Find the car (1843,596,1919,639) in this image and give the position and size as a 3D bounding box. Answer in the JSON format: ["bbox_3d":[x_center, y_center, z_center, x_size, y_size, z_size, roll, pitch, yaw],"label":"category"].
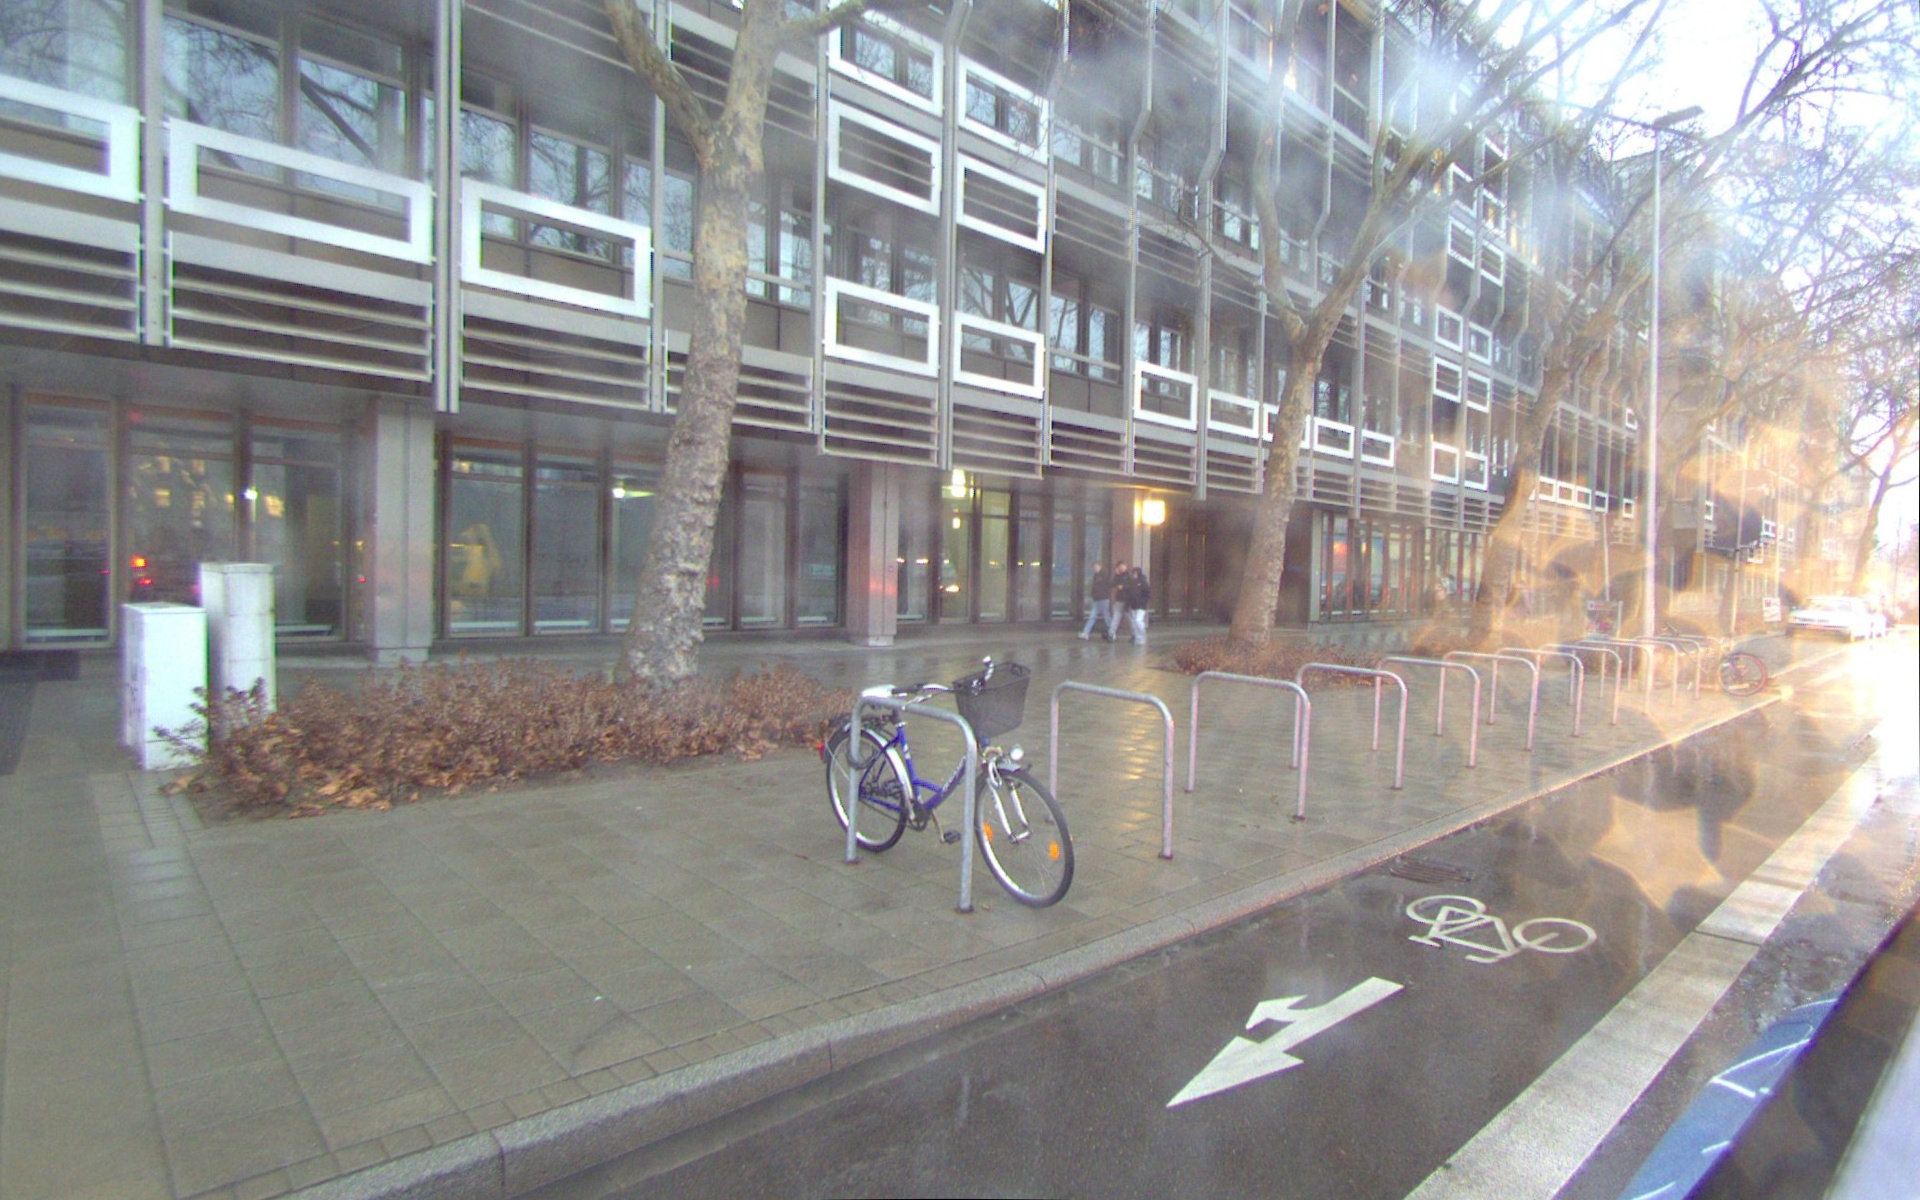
[{"bbox_3d":[35.489,0.638,38.761,3.930,1.504,1.997,-1,1,-41],"label":"car"}]

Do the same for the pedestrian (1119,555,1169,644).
[{"bbox_3d":[3.611,-0.019,19.839,0.858,1.689,0.501,0,2,-41],"label":"pedestrian"}]

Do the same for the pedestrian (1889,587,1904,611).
[{"bbox_3d":[77.793,-0.089,84.036,0.758,2.039,0.837,-1,0,-42],"label":"pedestrian"}]

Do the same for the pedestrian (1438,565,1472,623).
[{"bbox_3d":[14.603,-0.190,29.873,0.767,1.677,0.617,0,1,-41],"label":"pedestrian"}]

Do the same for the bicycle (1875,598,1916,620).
[{"bbox_3d":[47.005,0.451,50.877,1.518,1.049,0.462,0,1,42],"label":"bicycle"}]

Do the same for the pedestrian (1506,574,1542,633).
[{"bbox_3d":[15.309,0.084,27.463,0.604,1.563,0.649,0,1,-40],"label":"pedestrian"}]

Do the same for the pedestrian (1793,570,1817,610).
[{"bbox_3d":[44.167,-0.512,52.892,1.007,2.039,0.790,0,1,-41],"label":"pedestrian"}]

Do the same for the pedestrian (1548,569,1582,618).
[{"bbox_3d":[21.354,-0.237,35.733,0.629,1.675,0.843,1,1,-1],"label":"pedestrian"}]

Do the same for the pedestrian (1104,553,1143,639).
[{"bbox_3d":[3.273,-0.087,20.192,0.701,1.689,0.379,0,1,-41],"label":"pedestrian"}]

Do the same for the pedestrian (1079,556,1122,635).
[{"bbox_3d":[2.877,-0.100,20.686,0.733,1.583,0.484,0,1,-42],"label":"pedestrian"}]

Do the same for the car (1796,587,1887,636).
[{"bbox_3d":[29.427,0.335,33.759,3.859,1.449,1.609,0,4,-39],"label":"car"}]

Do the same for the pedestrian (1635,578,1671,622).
[{"bbox_3d":[24.521,-0.006,35.808,0.824,1.543,0.865,0,2,-44],"label":"pedestrian"}]

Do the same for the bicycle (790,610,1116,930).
[{"bbox_3d":[-0.113,0.697,4.846,0.428,1.162,1.752,0,4,-44],"label":"bicycle"}]

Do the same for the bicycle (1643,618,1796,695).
[{"bbox_3d":[11.653,0.843,15.573,0.607,0.986,1.789,0,3,-45],"label":"bicycle"}]

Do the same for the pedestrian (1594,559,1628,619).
[{"bbox_3d":[22.798,-0.394,35.439,0.723,2.039,0.821,0,1,-43],"label":"pedestrian"}]

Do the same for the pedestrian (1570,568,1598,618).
[{"bbox_3d":[22.157,-0.253,35.967,0.652,1.739,0.837,1,1,21],"label":"pedestrian"}]
